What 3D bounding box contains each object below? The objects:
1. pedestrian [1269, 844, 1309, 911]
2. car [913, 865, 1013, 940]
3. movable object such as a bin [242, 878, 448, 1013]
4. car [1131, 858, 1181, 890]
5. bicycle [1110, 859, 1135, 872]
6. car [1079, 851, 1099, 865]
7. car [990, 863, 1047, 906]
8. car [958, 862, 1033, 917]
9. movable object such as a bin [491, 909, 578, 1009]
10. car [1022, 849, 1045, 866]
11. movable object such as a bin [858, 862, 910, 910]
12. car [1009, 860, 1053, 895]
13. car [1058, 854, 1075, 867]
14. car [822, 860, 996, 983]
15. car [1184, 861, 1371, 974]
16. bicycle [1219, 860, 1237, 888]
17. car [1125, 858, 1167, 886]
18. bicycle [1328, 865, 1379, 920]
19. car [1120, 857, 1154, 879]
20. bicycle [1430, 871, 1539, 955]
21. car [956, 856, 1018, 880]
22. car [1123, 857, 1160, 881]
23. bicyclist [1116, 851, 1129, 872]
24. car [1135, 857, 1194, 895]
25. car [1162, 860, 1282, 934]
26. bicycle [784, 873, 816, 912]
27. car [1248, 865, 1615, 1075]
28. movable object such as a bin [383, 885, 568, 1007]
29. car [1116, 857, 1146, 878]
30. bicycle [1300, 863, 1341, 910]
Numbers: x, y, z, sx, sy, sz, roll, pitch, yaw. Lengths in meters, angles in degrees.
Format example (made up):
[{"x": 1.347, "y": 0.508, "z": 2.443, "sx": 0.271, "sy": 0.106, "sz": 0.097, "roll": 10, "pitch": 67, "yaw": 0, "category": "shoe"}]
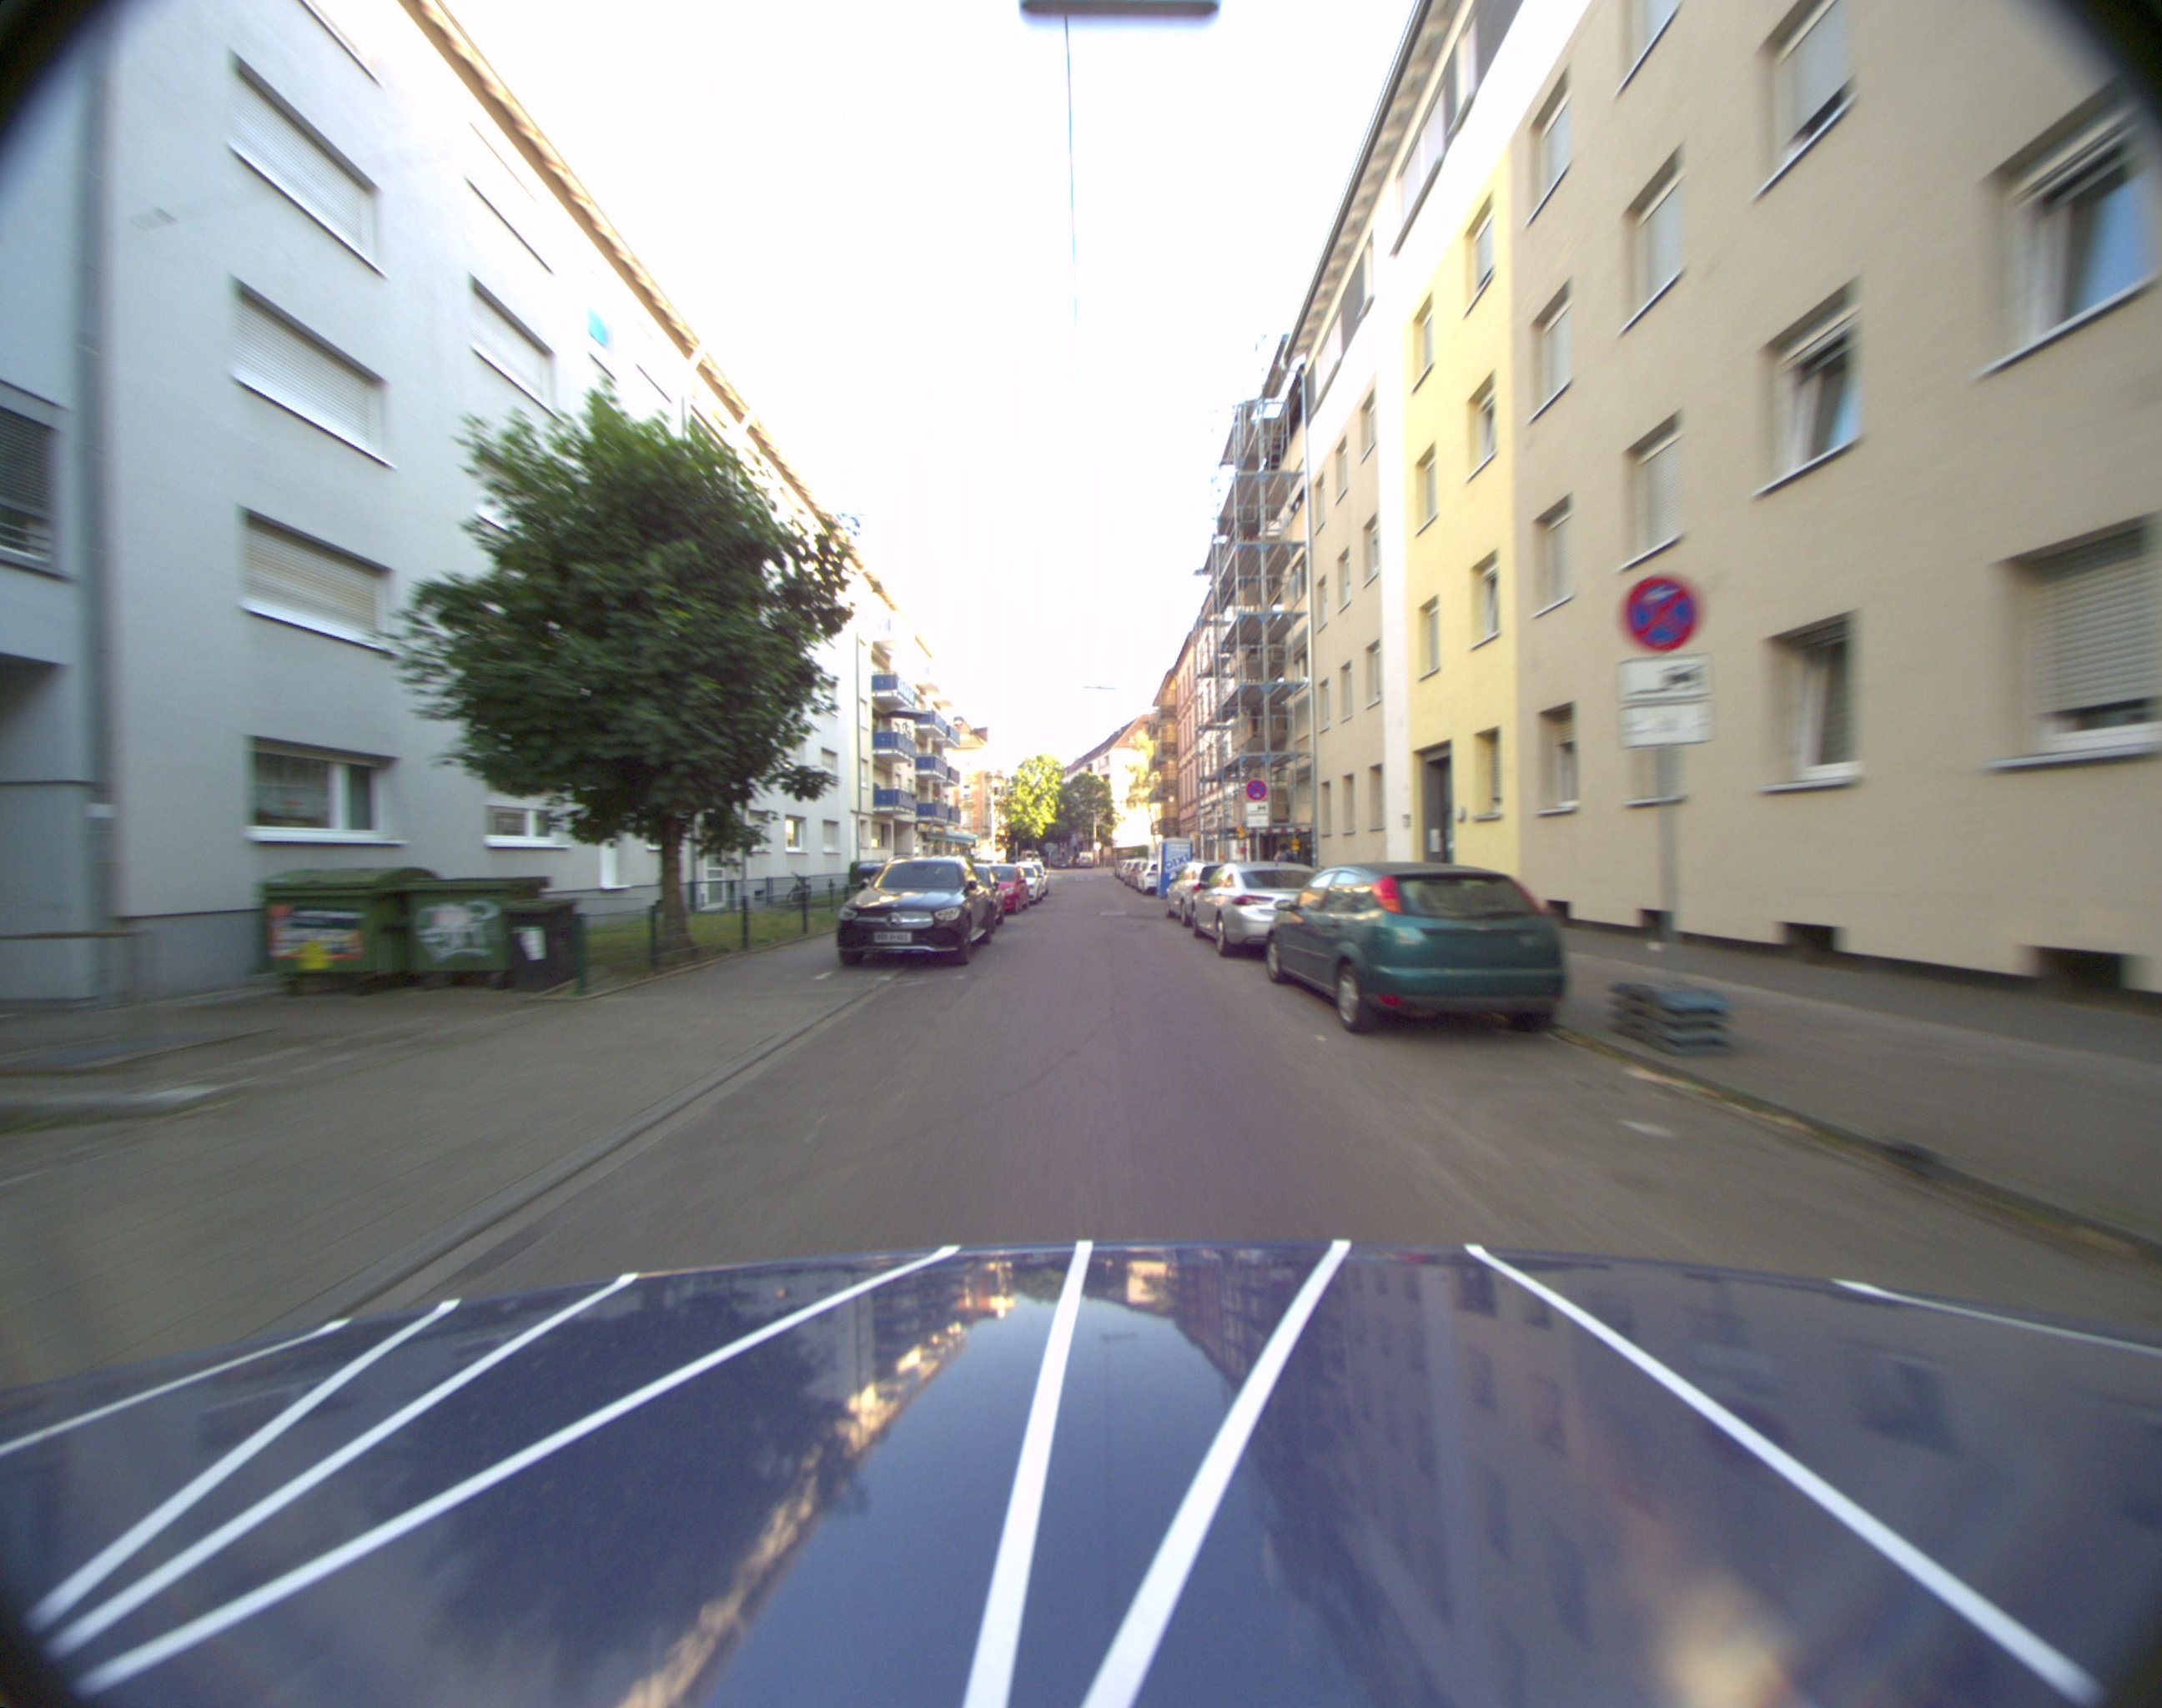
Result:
[{"x": 5.546, "y": 0.617, "z": 20.307, "sx": 0.791, "sy": 1.750, "sz": 1.092, "roll": 0, "pitch": 1, "yaw": 1, "category": "pedestrian"}, {"x": -2.592, "y": 1.025, "z": 17.499, "sx": 1.680, "sy": 1.474, "sz": 3.652, "roll": 0, "pitch": 0, "yaw": 1, "category": "car"}, {"x": -8.439, "y": 1.006, "z": 8.794, "sx": 1.264, "sy": 1.428, "sz": 1.139, "roll": 0, "pitch": 0, "yaw": 1, "category": "movable object such as a bin"}, {"x": 3.621, "y": 0.940, "z": 37.374, "sx": 1.999, "sy": 1.439, "sz": 3.999, "roll": 0, "pitch": 0, "yaw": -1, "category": "car"}, {"x": 3.640, "y": 0.991, "z": 66.800, "sx": 2.106, "sy": 1.161, "sz": 0.567, "roll": 0, "pitch": 1, "yaw": 0, "category": "bicycle"}, {"x": 0.989, "y": 0.465, "z": 95.449, "sx": 2.081, "sy": 1.760, "sz": 4.215, "roll": 0, "pitch": 0, "yaw": -6, "category": "car"}, {"x": -2.237, "y": 1.065, "z": 28.133, "sx": 1.680, "sy": 1.411, "sz": 4.136, "roll": 0, "pitch": 0, "yaw": 1, "category": "car"}, {"x": -2.524, "y": 1.018, "z": 23.194, "sx": 1.680, "sy": 1.474, "sz": 3.653, "roll": 0, "pitch": 0, "yaw": 3, "category": "car"}, {"x": -6.224, "y": 1.181, "z": 8.681, "sx": 0.529, "sy": 1.065, "sz": 0.625, "roll": 0, "pitch": 0, "yaw": 1, "category": "movable object such as a bin"}, {"x": -6.568, "y": 0.413, "z": 104.291, "sx": 2.163, "sy": 2.270, "sz": 6.201, "roll": 0, "pitch": 0, "yaw": -13, "category": "car"}, {"x": -6.059, "y": 0.958, "z": 23.460, "sx": 1.287, "sy": 1.428, "sz": 1.223, "roll": 0, "pitch": 0, "yaw": 1, "category": "movable object such as a bin"}, {"x": -2.219, "y": 1.007, "z": 34.323, "sx": 1.680, "sy": 1.411, "sz": 4.136, "roll": 0, "pitch": 0, "yaw": 0, "category": "car"}, {"x": -1.848, "y": 0.781, "z": 94.397, "sx": 1.829, "sy": 1.496, "sz": 3.997, "roll": 0, "pitch": 0, "yaw": -6, "category": "car"}, {"x": -2.592, "y": 0.933, "z": 12.644, "sx": 1.876, "sy": 1.626, "sz": 4.722, "roll": 0, "pitch": 0, "yaw": -1, "category": "car"}, {"x": 3.012, "y": 0.897, "z": 12.730, "sx": 1.927, "sy": 1.479, "sz": 4.617, "roll": 0, "pitch": 0, "yaw": 0, "category": "car"}, {"x": 6.664, "y": 0.885, "z": 34.393, "sx": 0.490, "sy": 1.161, "sz": 1.684, "roll": -4, "pitch": 1, "yaw": 19, "category": "bicycle"}, {"x": 3.601, "y": 0.975, "z": 42.690, "sx": 1.999, "sy": 1.423, "sz": 3.999, "roll": 0, "pitch": 0, "yaw": -1, "category": "car"}, {"x": 6.373, "y": 0.869, "z": 17.850, "sx": 0.479, "sy": 1.161, "sz": 1.732, "roll": -4, "pitch": 0, "yaw": -2, "category": "bicycle"}, {"x": 3.842, "y": 0.970, "z": 52.781, "sx": 1.999, "sy": 1.423, "sz": 3.999, "roll": 0, "pitch": 0, "yaw": -1, "category": "car"}, {"x": 6.208, "y": 0.868, "z": 11.829, "sx": 0.611, "sy": 1.161, "sz": 1.924, "roll": 0, "pitch": 0, "yaw": -2, "category": "bicycle"}, {"x": -6.370, "y": 0.925, "z": 51.823, "sx": 3.997, "sy": 1.556, "sz": 2.000, "roll": 0, "pitch": 0, "yaw": -1, "category": "car"}, {"x": 3.787, "y": 0.948, "z": 48.111, "sx": 1.999, "sy": 1.423, "sz": 3.999, "roll": 0, "pitch": 0, "yaw": -1, "category": "car"}, {"x": 3.629, "y": 0.657, "z": 66.787, "sx": 1.097, "sy": 1.792, "sz": 0.567, "roll": 0, "pitch": 1, "yaw": 0, "category": "bicyclist"}, {"x": 3.496, "y": 0.903, "z": 32.546, "sx": 1.999, "sy": 1.496, "sz": 3.999, "roll": 0, "pitch": 0, "yaw": -1, "category": "car"}, {"x": 3.170, "y": 0.909, "z": 18.098, "sx": 1.927, "sy": 1.479, "sz": 4.617, "roll": 0, "pitch": 0, "yaw": -1, "category": "car"}, {"x": -8.586, "y": 1.158, "z": 23.252, "sx": 0.602, "sy": 1.084, "sz": 1.739, "roll": 0, "pitch": 0, "yaw": -10, "category": "bicycle"}, {"x": 3.097, "y": 0.899, "z": 7.872, "sx": 1.783, "sy": 1.479, "sz": 4.420, "roll": 0, "pitch": 0, "yaw": 1, "category": "car"}, {"x": -7.129, "y": 1.054, "z": 9.030, "sx": 1.264, "sy": 1.313, "sz": 1.139, "roll": 0, "pitch": 0, "yaw": 1, "category": "movable object such as a bin"}, {"x": 3.851, "y": 1.014, "z": 58.692, "sx": 1.999, "sy": 1.462, "sz": 3.999, "roll": 0, "pitch": 0, "yaw": -1, "category": "car"}, {"x": 6.445, "y": 0.838, "z": 20.516, "sx": 0.405, "sy": 1.161, "sz": 1.816, "roll": -4, "pitch": 0, "yaw": -1, "category": "bicycle"}]
